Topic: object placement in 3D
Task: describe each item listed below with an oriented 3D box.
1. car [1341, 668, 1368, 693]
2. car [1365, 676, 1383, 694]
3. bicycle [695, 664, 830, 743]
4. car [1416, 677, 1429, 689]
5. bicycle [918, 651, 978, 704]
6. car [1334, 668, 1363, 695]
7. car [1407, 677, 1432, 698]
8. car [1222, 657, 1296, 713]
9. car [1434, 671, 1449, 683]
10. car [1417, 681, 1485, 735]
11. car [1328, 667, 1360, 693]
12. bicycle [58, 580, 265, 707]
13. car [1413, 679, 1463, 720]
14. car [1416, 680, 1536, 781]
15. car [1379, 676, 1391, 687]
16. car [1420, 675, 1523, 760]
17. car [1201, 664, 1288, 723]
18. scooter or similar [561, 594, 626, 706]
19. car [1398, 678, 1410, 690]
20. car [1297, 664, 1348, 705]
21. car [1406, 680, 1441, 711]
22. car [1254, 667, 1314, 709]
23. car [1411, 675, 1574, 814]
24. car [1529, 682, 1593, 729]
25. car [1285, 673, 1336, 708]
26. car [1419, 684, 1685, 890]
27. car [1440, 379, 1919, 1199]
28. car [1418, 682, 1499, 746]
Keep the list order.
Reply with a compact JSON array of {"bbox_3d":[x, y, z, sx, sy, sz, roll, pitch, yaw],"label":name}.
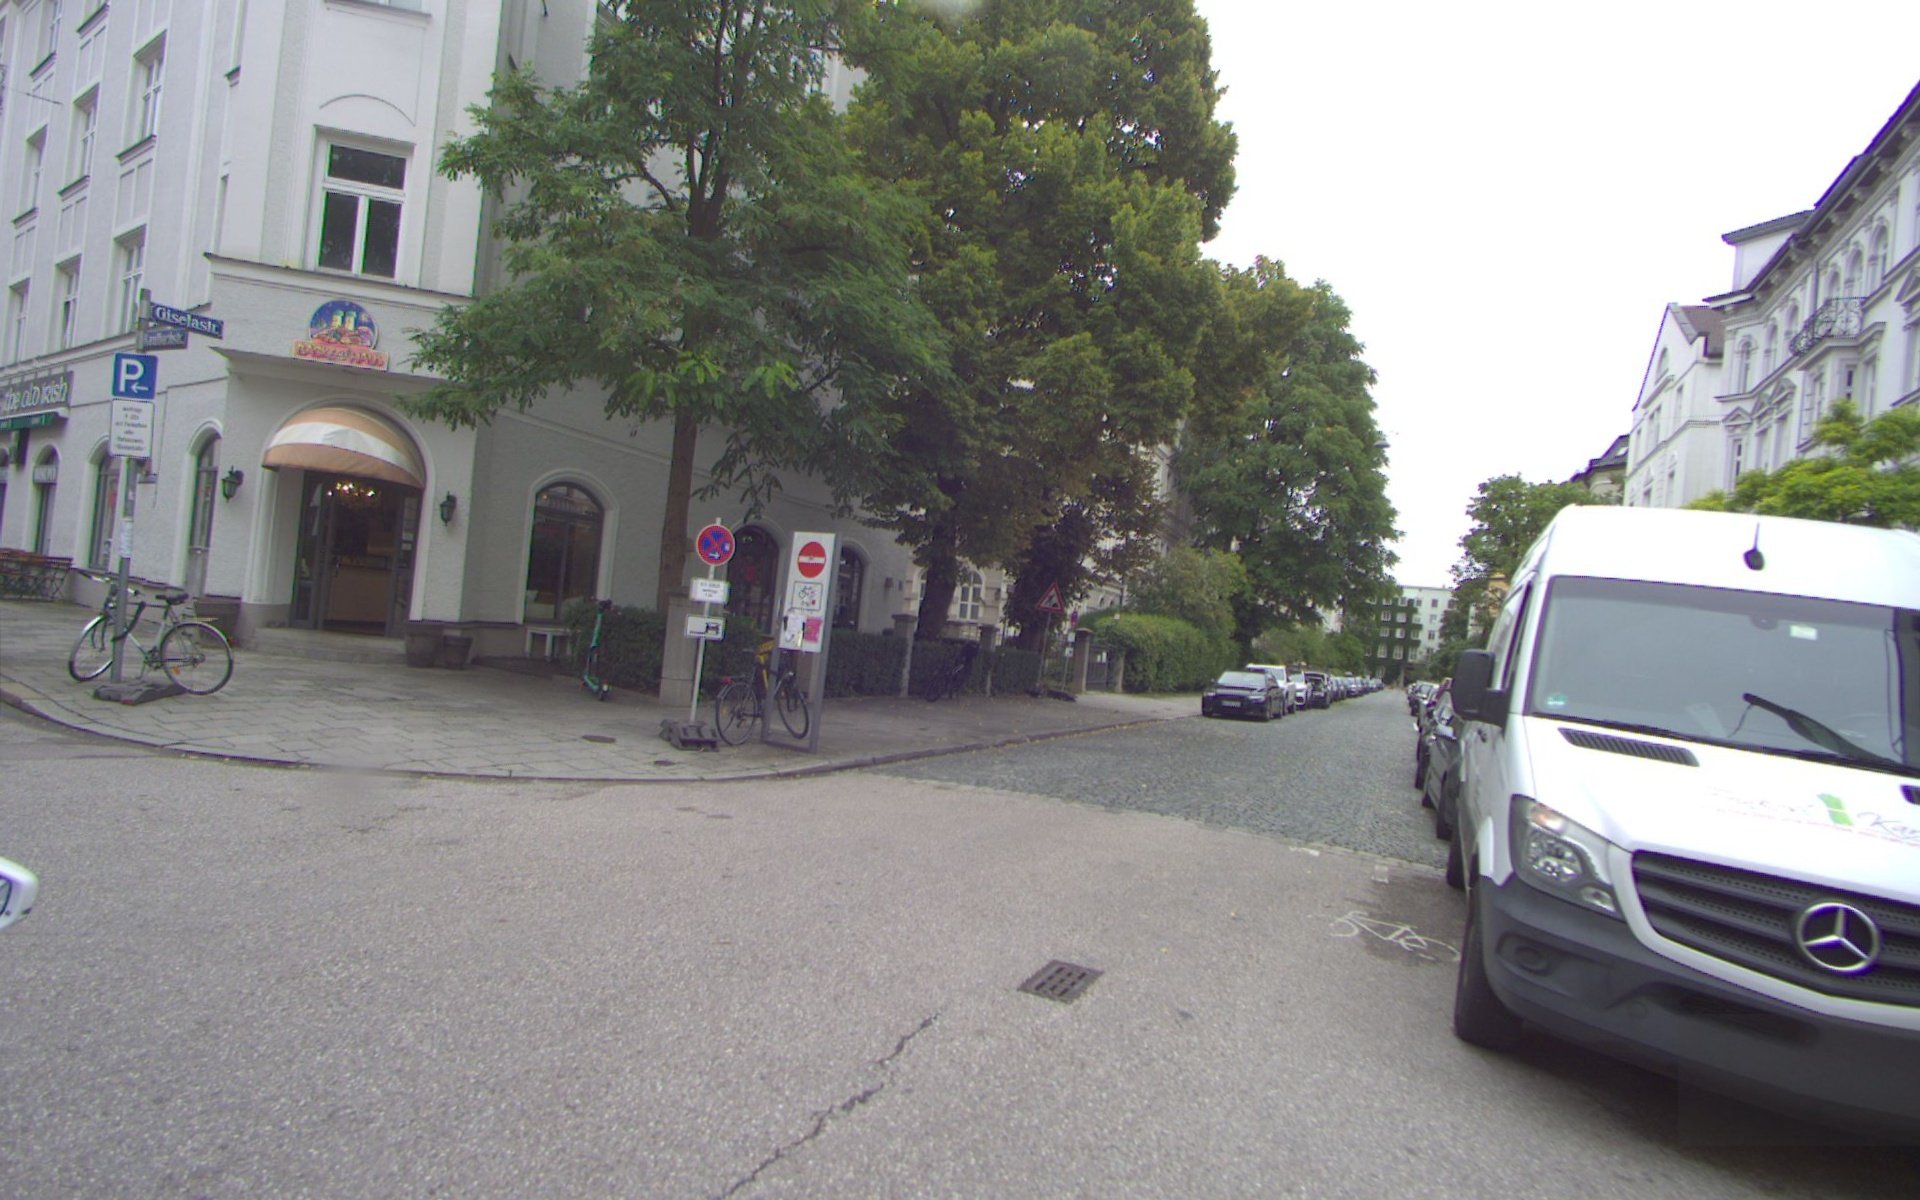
[{"bbox_3d":[36.110,7.366,92.008,1.964,2.037,3.999,6,-2,24],"label":"car"},{"bbox_3d":[54.968,11.260,133.528,1.964,2.037,3.999,6,-2,24],"label":"car"},{"bbox_3d":[-2.219,1.169,11.419,0.537,0.792,1.411,5,0,42],"label":"bicycle"},{"bbox_3d":[85.867,15.464,186.865,1.964,2.037,4.453,6,-2,25],"label":"car"},{"bbox_3d":[-0.222,1.554,19.985,0.423,0.959,1.460,9,-1,28],"label":"bicycle"},{"bbox_3d":[33.757,7.079,87.441,1.964,2.037,3.999,6,-2,24],"label":"car"},{"bbox_3d":[45.531,8.675,99.677,1.964,1.821,4.283,6,-2,25],"label":"car"},{"bbox_3d":[10.069,2.846,33.717,1.779,1.636,4.000,3,-3,24],"label":"car"},{"bbox_3d":[80.112,12.823,167.500,1.964,1.821,4.283,6,-2,25],"label":"car"},{"bbox_3d":[17.791,3.883,36.610,1.900,1.610,4.166,6,-2,24],"label":"car"},{"bbox_3d":[31.533,6.583,82.515,1.964,1.821,4.283,6,-2,25],"label":"car"},{"bbox_3d":[-7.714,0.400,9.729,1.722,1.012,0.540,6,3,11],"label":"bicycle"},{"bbox_3d":[23.747,4.898,50.105,1.964,1.704,4.482,6,-2,23],"label":"car"},{"bbox_3d":[10.328,2.538,20.388,1.832,1.626,3.999,6,-2,25],"label":"car"},{"bbox_3d":[86.080,16.574,203.742,1.964,2.037,4.453,6,-2,25],"label":"car"},{"bbox_3d":[12.932,2.906,25.654,1.899,1.763,4.000,6,-2,23],"label":"car"},{"bbox_3d":[8.393,2.718,29.456,1.780,1.455,4.056,3,-3,25],"label":"car"},{"bbox_3d":[-4.768,0.626,13.051,0.424,1.294,1.268,7,0,-31],"label":"scooter or similar"},{"bbox_3d":[89.127,16.840,201.903,1.964,2.037,4.453,6,-2,25],"label":"car"},{"bbox_3d":[18.702,4.342,51.771,1.964,1.821,4.283,6,-2,25],"label":"car"},{"bbox_3d":[31.590,6.465,68.558,1.964,1.821,4.283,6,-2,25],"label":"car"},{"bbox_3d":[12.916,3.484,39.967,1.779,1.455,3.999,3,-3,24],"label":"car"},{"bbox_3d":[8.063,2.091,15.550,1.779,1.587,4.252,7,-1,25],"label":"car"},{"bbox_3d":[28.192,4.915,47.284,1.964,1.837,3.999,6,-2,24],"label":"car"},{"bbox_3d":[15.833,4.067,45.320,1.696,1.384,3.999,3,-3,25],"label":"car"},{"bbox_3d":[6.042,1.781,10.764,1.763,1.464,4.000,8,-1,23],"label":"car"},{"bbox_3d":[4.060,0.859,5.777,2.023,2.622,5.910,7,-1,25],"label":"car"},{"bbox_3d":[15.238,3.439,30.940,1.831,1.610,4.000,6,-2,23],"label":"car"}]
